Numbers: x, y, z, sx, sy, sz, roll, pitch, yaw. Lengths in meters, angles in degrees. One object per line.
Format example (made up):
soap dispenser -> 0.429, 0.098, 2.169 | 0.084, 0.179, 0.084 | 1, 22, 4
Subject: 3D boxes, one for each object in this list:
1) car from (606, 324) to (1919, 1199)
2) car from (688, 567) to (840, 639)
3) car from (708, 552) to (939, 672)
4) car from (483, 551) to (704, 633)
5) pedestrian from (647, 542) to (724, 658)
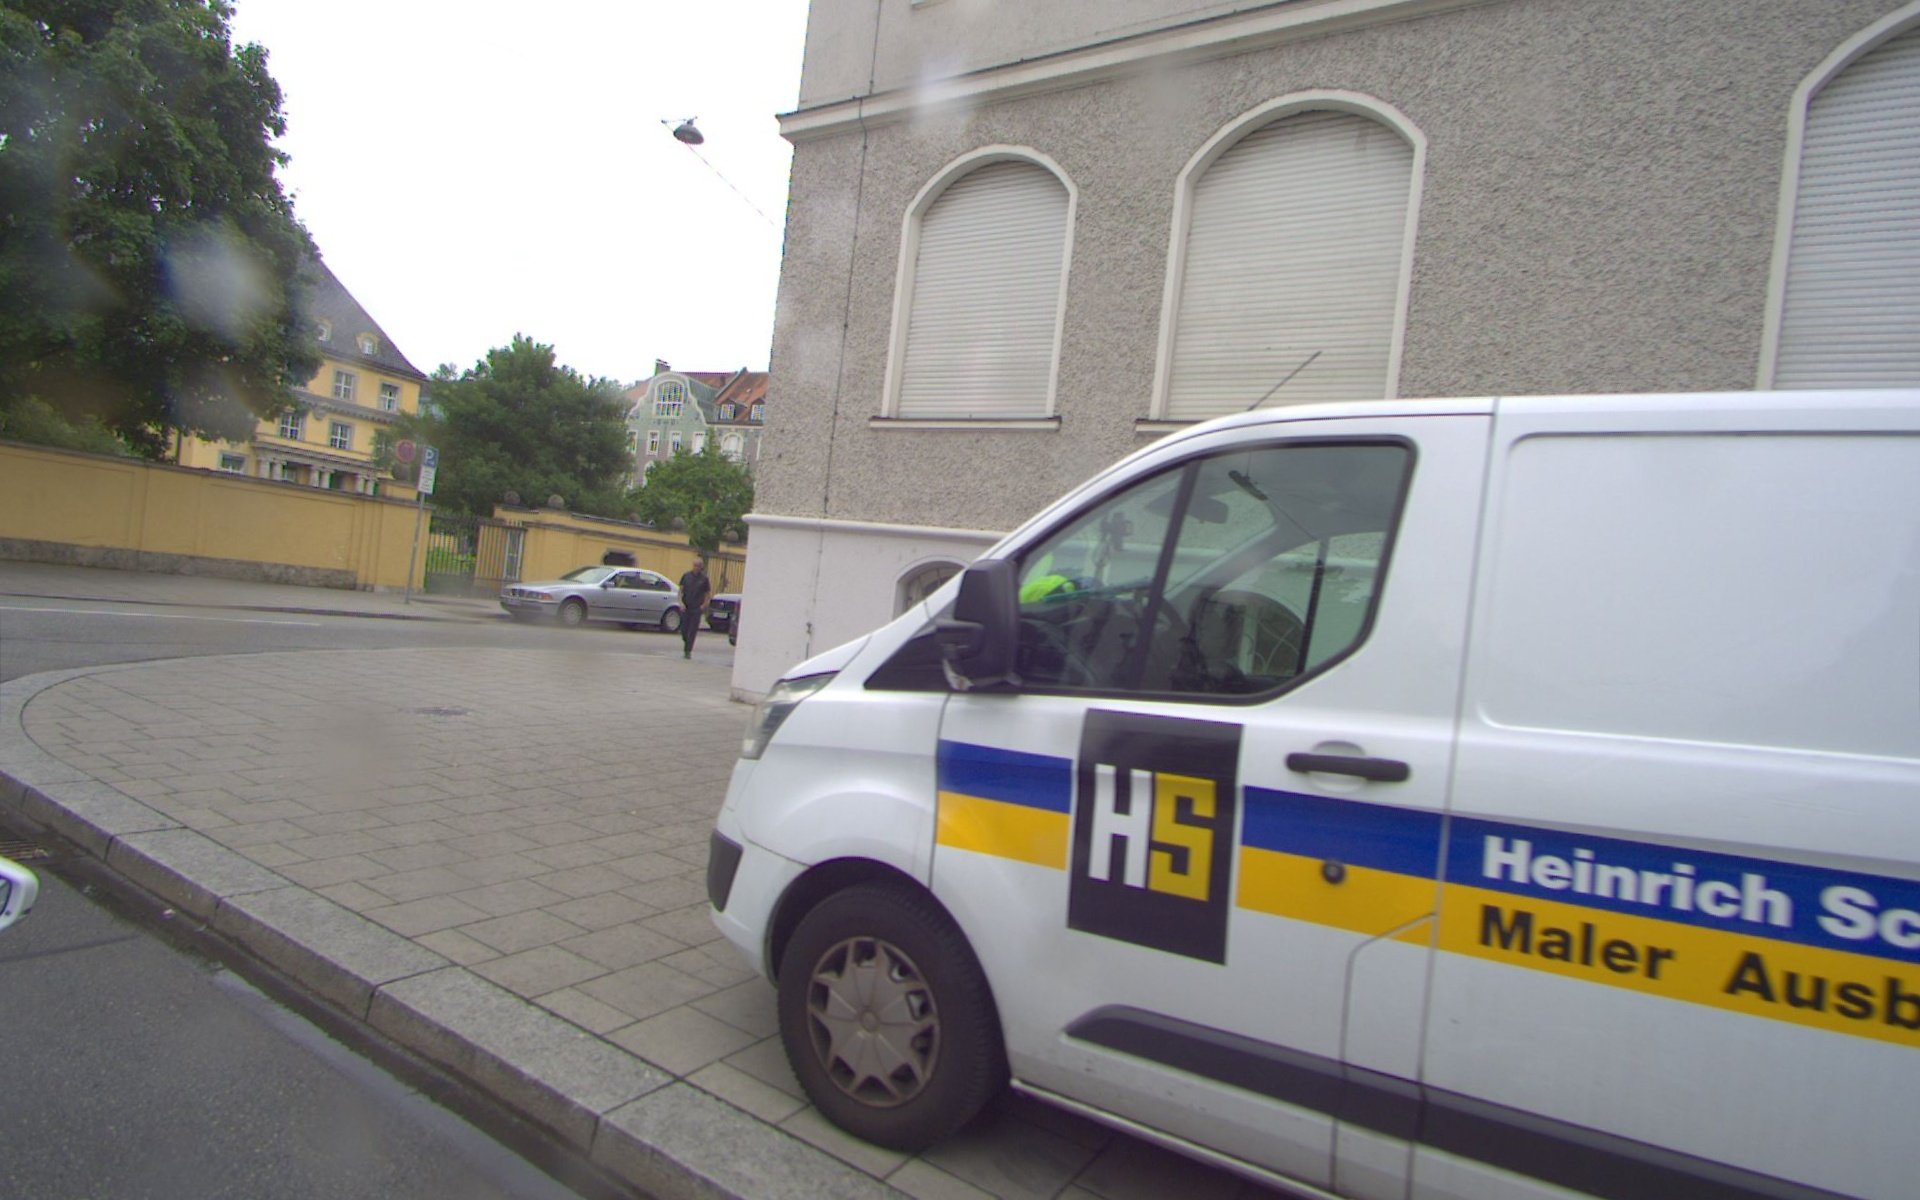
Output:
car -> 1.787, 0.590, 2.409 | 5.284, 1.947, 1.939 | 7, 2, 31
car -> -5.267, 0.129, 27.529 | 1.767, 1.566, 3.948 | 7, 0, 32
car -> -2.368, 0.296, 18.599 | 1.861, 1.818, 4.241 | 7, 0, 31
car -> -8.142, -0.126, 22.754 | 1.772, 1.385, 4.455 | 7, 0, 32
pedestrian -> -4.650, 0.001, 17.099 | 0.982, 1.824, 0.928 | 6, 1, -8
